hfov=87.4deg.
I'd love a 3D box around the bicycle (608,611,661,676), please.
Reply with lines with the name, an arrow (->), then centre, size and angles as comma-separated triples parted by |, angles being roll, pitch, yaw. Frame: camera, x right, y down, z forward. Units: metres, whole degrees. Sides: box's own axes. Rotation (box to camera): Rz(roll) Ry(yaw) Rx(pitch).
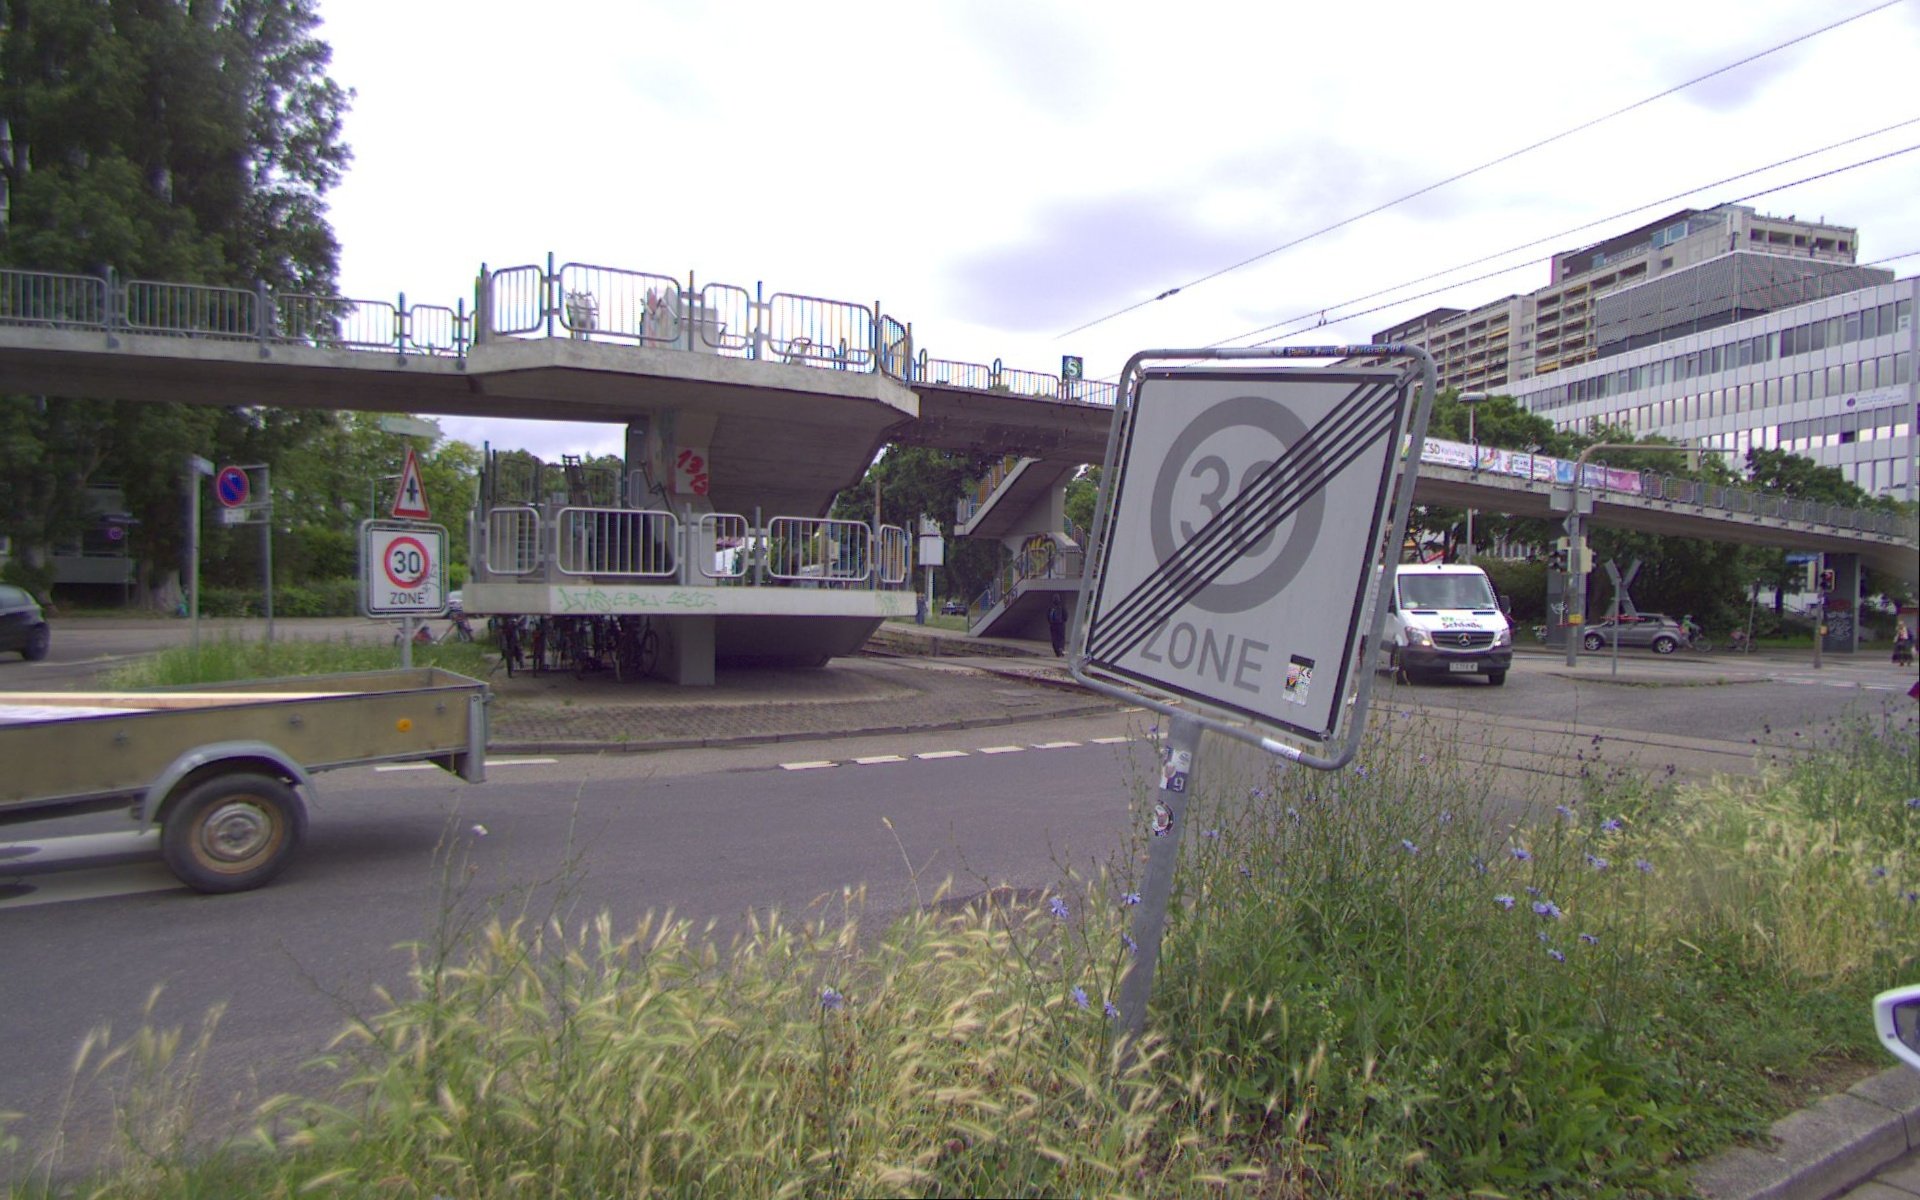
bicycle -> -4.844, 0.625, 15.025 | 0.387, 0.897, 1.741 | 1, 0, -6

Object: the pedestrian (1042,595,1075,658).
pedestrian -> 2.638, 0.716, 26.995 | 0.593, 1.664, 0.659 | 1, 1, -25

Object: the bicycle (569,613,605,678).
bicycle -> -5.651, 0.666, 15.182 | 0.389, 0.897, 1.632 | 1, 0, -24

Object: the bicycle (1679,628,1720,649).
bicycle -> 35.004, 1.813, 47.515 | 2.494, 0.938, 0.628 | 1, 1, -31

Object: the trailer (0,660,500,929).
trailer -> -4.325, 0.885, 5.025 | 3.434, 0.999, 1.555 | 1, 0, -38

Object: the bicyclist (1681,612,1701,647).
bicyclist -> 34.851, 1.393, 47.884 | 0.525, 1.666, 0.562 | 2, 0, -29

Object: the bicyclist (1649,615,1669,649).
bicyclist -> 34.461, 1.578, 49.514 | 0.737, 1.647, 0.526 | 2, 0, 32

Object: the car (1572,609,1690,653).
car -> 29.429, 1.344, 44.220 | 4.131, 1.758, 1.626 | 1, 0, 28

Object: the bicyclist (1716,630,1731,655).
bicyclist -> 36.765, 2.058, 48.369 | 0.372, 1.197, 0.403 | 0, 1, -28

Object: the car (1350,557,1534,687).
car -> 9.702, 0.381, 20.743 | 2.097, 2.323, 5.210 | -1, 1, 10

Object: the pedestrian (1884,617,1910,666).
pedestrian -> 33.316, 1.464, 35.722 | 0.402, 1.714, 0.612 | 1, 1, -43

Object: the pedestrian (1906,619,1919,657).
pedestrian -> 41.405, 1.643, 43.512 | 0.572, 1.600, 0.777 | 2, 0, 42

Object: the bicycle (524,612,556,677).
bicycle -> -6.375, 0.655, 15.208 | 0.389, 0.897, 1.632 | 1, 0, -24

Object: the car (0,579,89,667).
car -> -17.083, 0.375, 16.904 | 1.773, 1.476, 4.528 | 1, 0, -14

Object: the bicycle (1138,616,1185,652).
bicycle -> 5.731, 0.952, 28.648 | 0.368, 0.934, 2.029 | 1, 0, -18

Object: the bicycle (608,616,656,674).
bicycle -> -5.604, 0.744, 17.126 | 0.390, 0.897, 1.628 | 1, 0, -32

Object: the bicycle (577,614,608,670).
bicycle -> -6.390, 0.703, 17.439 | 0.389, 0.897, 1.632 | 1, 0, -24

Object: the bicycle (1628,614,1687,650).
bicycle -> 34.372, 1.575, 49.552 | 2.325, 1.647, 0.526 | 2, 0, 32

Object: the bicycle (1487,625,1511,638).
bicycle -> 29.535, 1.741, 55.067 | 0.263, 0.677, 1.138 | 1, 1, -37

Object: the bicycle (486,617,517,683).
bicycle -> -6.956, 0.735, 15.251 | 0.389, 0.897, 1.632 | 1, 0, -24

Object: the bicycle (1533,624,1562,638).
bicycle -> 30.829, 1.640, 52.719 | 1.273, 0.701, 0.290 | 1, 1, 25
